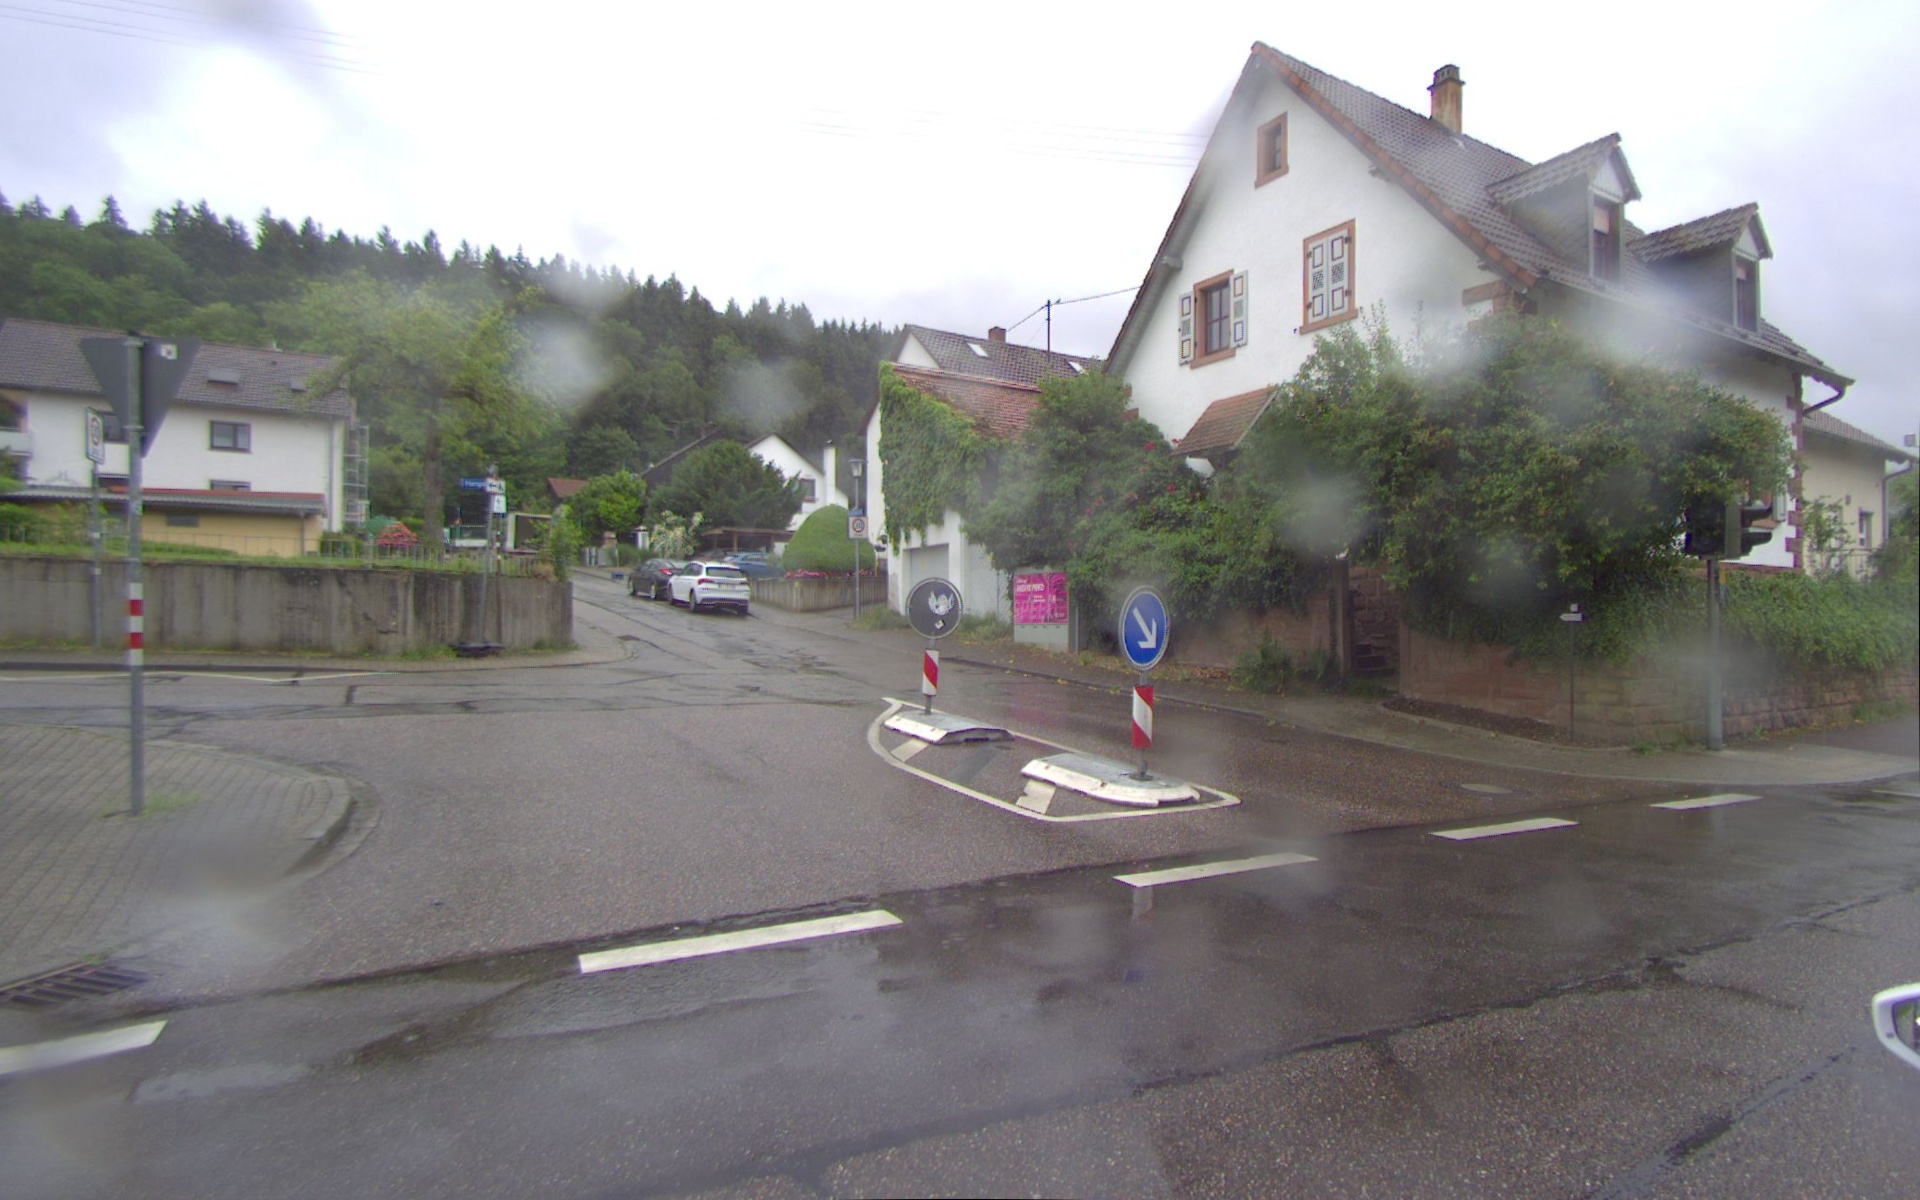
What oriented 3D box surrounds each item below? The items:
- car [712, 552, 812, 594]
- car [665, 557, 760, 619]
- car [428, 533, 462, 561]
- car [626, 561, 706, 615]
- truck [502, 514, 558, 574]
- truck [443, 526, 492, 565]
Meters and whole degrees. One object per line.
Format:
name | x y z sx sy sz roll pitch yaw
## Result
car | -8.665 -1.194 44.058 3.847 1.534 1.884 2 5 -31
car | -7.903 -0.409 31.859 1.878 1.535 3.859 2 5 -30
car | -40.074 -4.126 78.140 1.897 2.040 3.962 2 1 -34
car | -10.631 -0.473 36.203 1.878 1.535 3.859 2 5 -30
truck | -26.659 -3.409 62.117 2.424 3.397 6.604 2 1 -30
truck | -30.621 -3.340 62.342 2.274 2.155 6.029 2 1 -31
